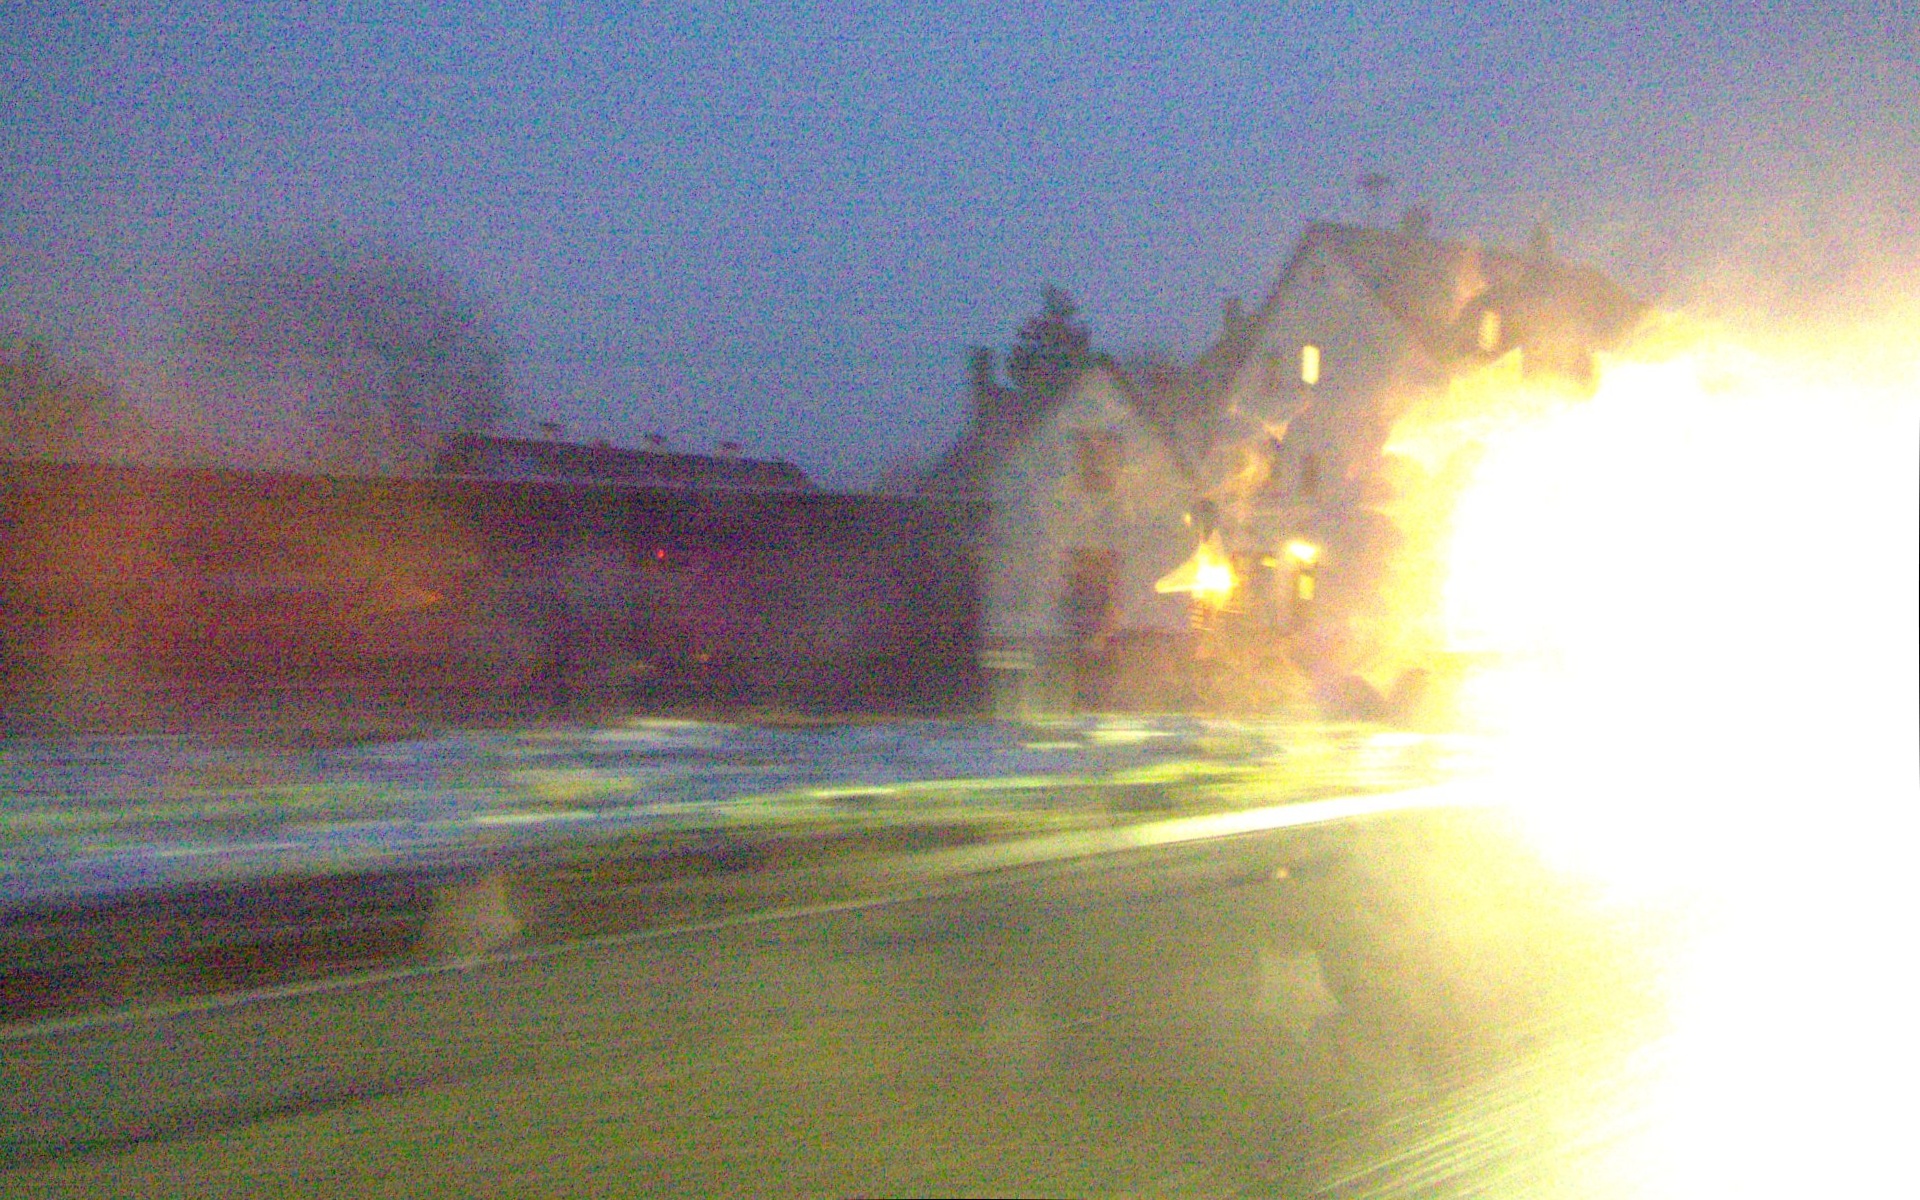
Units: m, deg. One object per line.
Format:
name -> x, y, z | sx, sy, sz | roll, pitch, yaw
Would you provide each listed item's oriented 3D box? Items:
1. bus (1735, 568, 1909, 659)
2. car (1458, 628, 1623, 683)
bus -> 42.279, 0.553, 49.934 | 2.847, 3.920, 13.050 | 1, 0, 24
car -> 16.031, 1.495, 27.761 | 4.086, 1.416, 1.687 | 0, -2, -20
